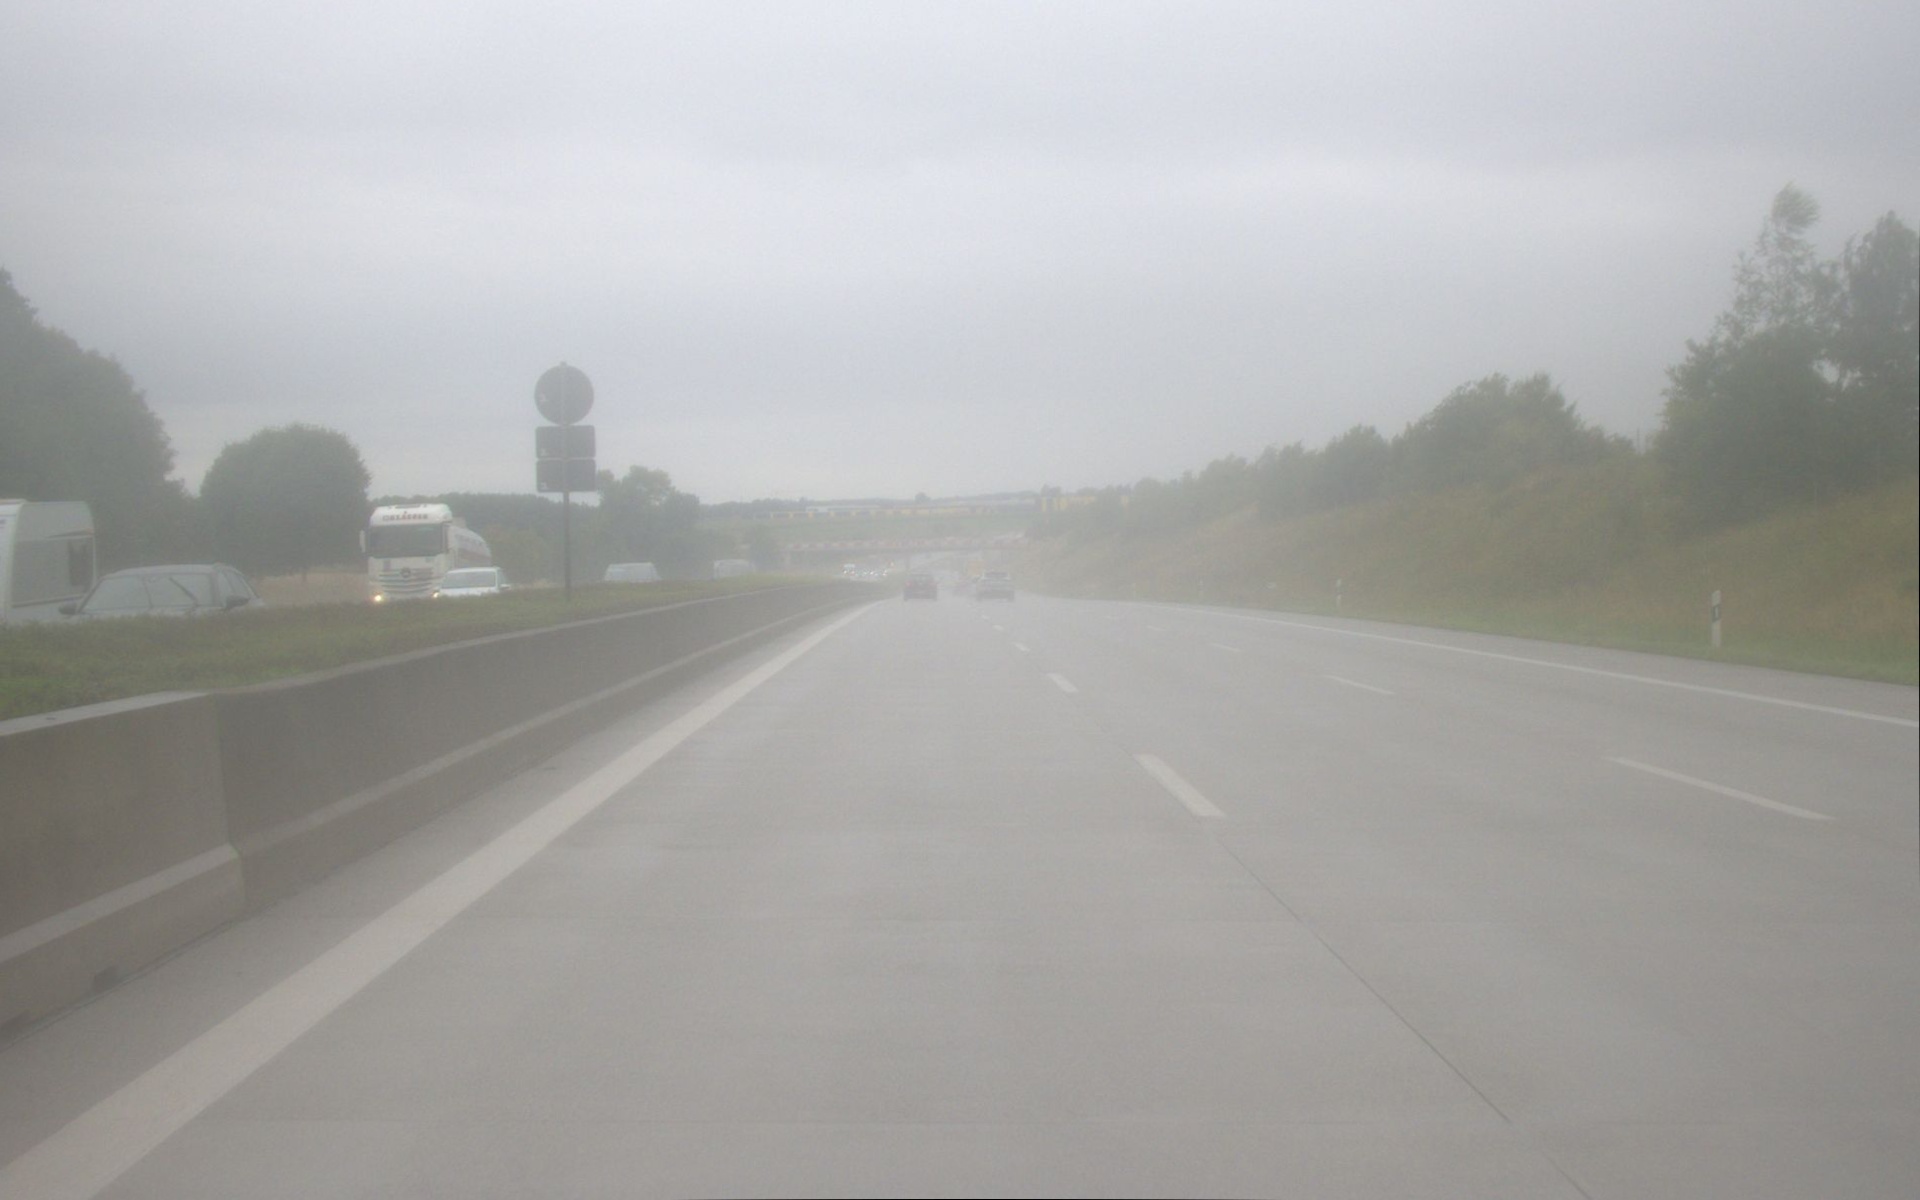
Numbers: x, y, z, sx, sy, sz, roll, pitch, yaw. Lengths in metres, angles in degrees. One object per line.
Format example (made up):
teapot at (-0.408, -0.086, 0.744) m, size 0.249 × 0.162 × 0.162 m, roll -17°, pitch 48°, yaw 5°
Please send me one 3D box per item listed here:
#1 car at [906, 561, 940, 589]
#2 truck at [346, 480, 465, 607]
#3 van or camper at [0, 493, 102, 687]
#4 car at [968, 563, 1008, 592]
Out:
car at (-1.915, -1.290, 177.826) m, size 1.729 × 1.326 × 4.430 m, roll 0°, pitch 2°, yaw 0°
truck at (-17.599, -1.847, 109.499) m, size 2.664 × 3.861 × 6.436 m, roll -1°, pitch 2°, yaw 0°
van or camper at (-13.278, -0.137, 45.355) m, size 2.501 × 2.421 × 5.919 m, roll -1°, pitch 1°, yaw -1°
car at (1.403, -1.157, 173.521) m, size 1.847 × 1.326 × 4.430 m, roll 0°, pitch 2°, yaw -2°
